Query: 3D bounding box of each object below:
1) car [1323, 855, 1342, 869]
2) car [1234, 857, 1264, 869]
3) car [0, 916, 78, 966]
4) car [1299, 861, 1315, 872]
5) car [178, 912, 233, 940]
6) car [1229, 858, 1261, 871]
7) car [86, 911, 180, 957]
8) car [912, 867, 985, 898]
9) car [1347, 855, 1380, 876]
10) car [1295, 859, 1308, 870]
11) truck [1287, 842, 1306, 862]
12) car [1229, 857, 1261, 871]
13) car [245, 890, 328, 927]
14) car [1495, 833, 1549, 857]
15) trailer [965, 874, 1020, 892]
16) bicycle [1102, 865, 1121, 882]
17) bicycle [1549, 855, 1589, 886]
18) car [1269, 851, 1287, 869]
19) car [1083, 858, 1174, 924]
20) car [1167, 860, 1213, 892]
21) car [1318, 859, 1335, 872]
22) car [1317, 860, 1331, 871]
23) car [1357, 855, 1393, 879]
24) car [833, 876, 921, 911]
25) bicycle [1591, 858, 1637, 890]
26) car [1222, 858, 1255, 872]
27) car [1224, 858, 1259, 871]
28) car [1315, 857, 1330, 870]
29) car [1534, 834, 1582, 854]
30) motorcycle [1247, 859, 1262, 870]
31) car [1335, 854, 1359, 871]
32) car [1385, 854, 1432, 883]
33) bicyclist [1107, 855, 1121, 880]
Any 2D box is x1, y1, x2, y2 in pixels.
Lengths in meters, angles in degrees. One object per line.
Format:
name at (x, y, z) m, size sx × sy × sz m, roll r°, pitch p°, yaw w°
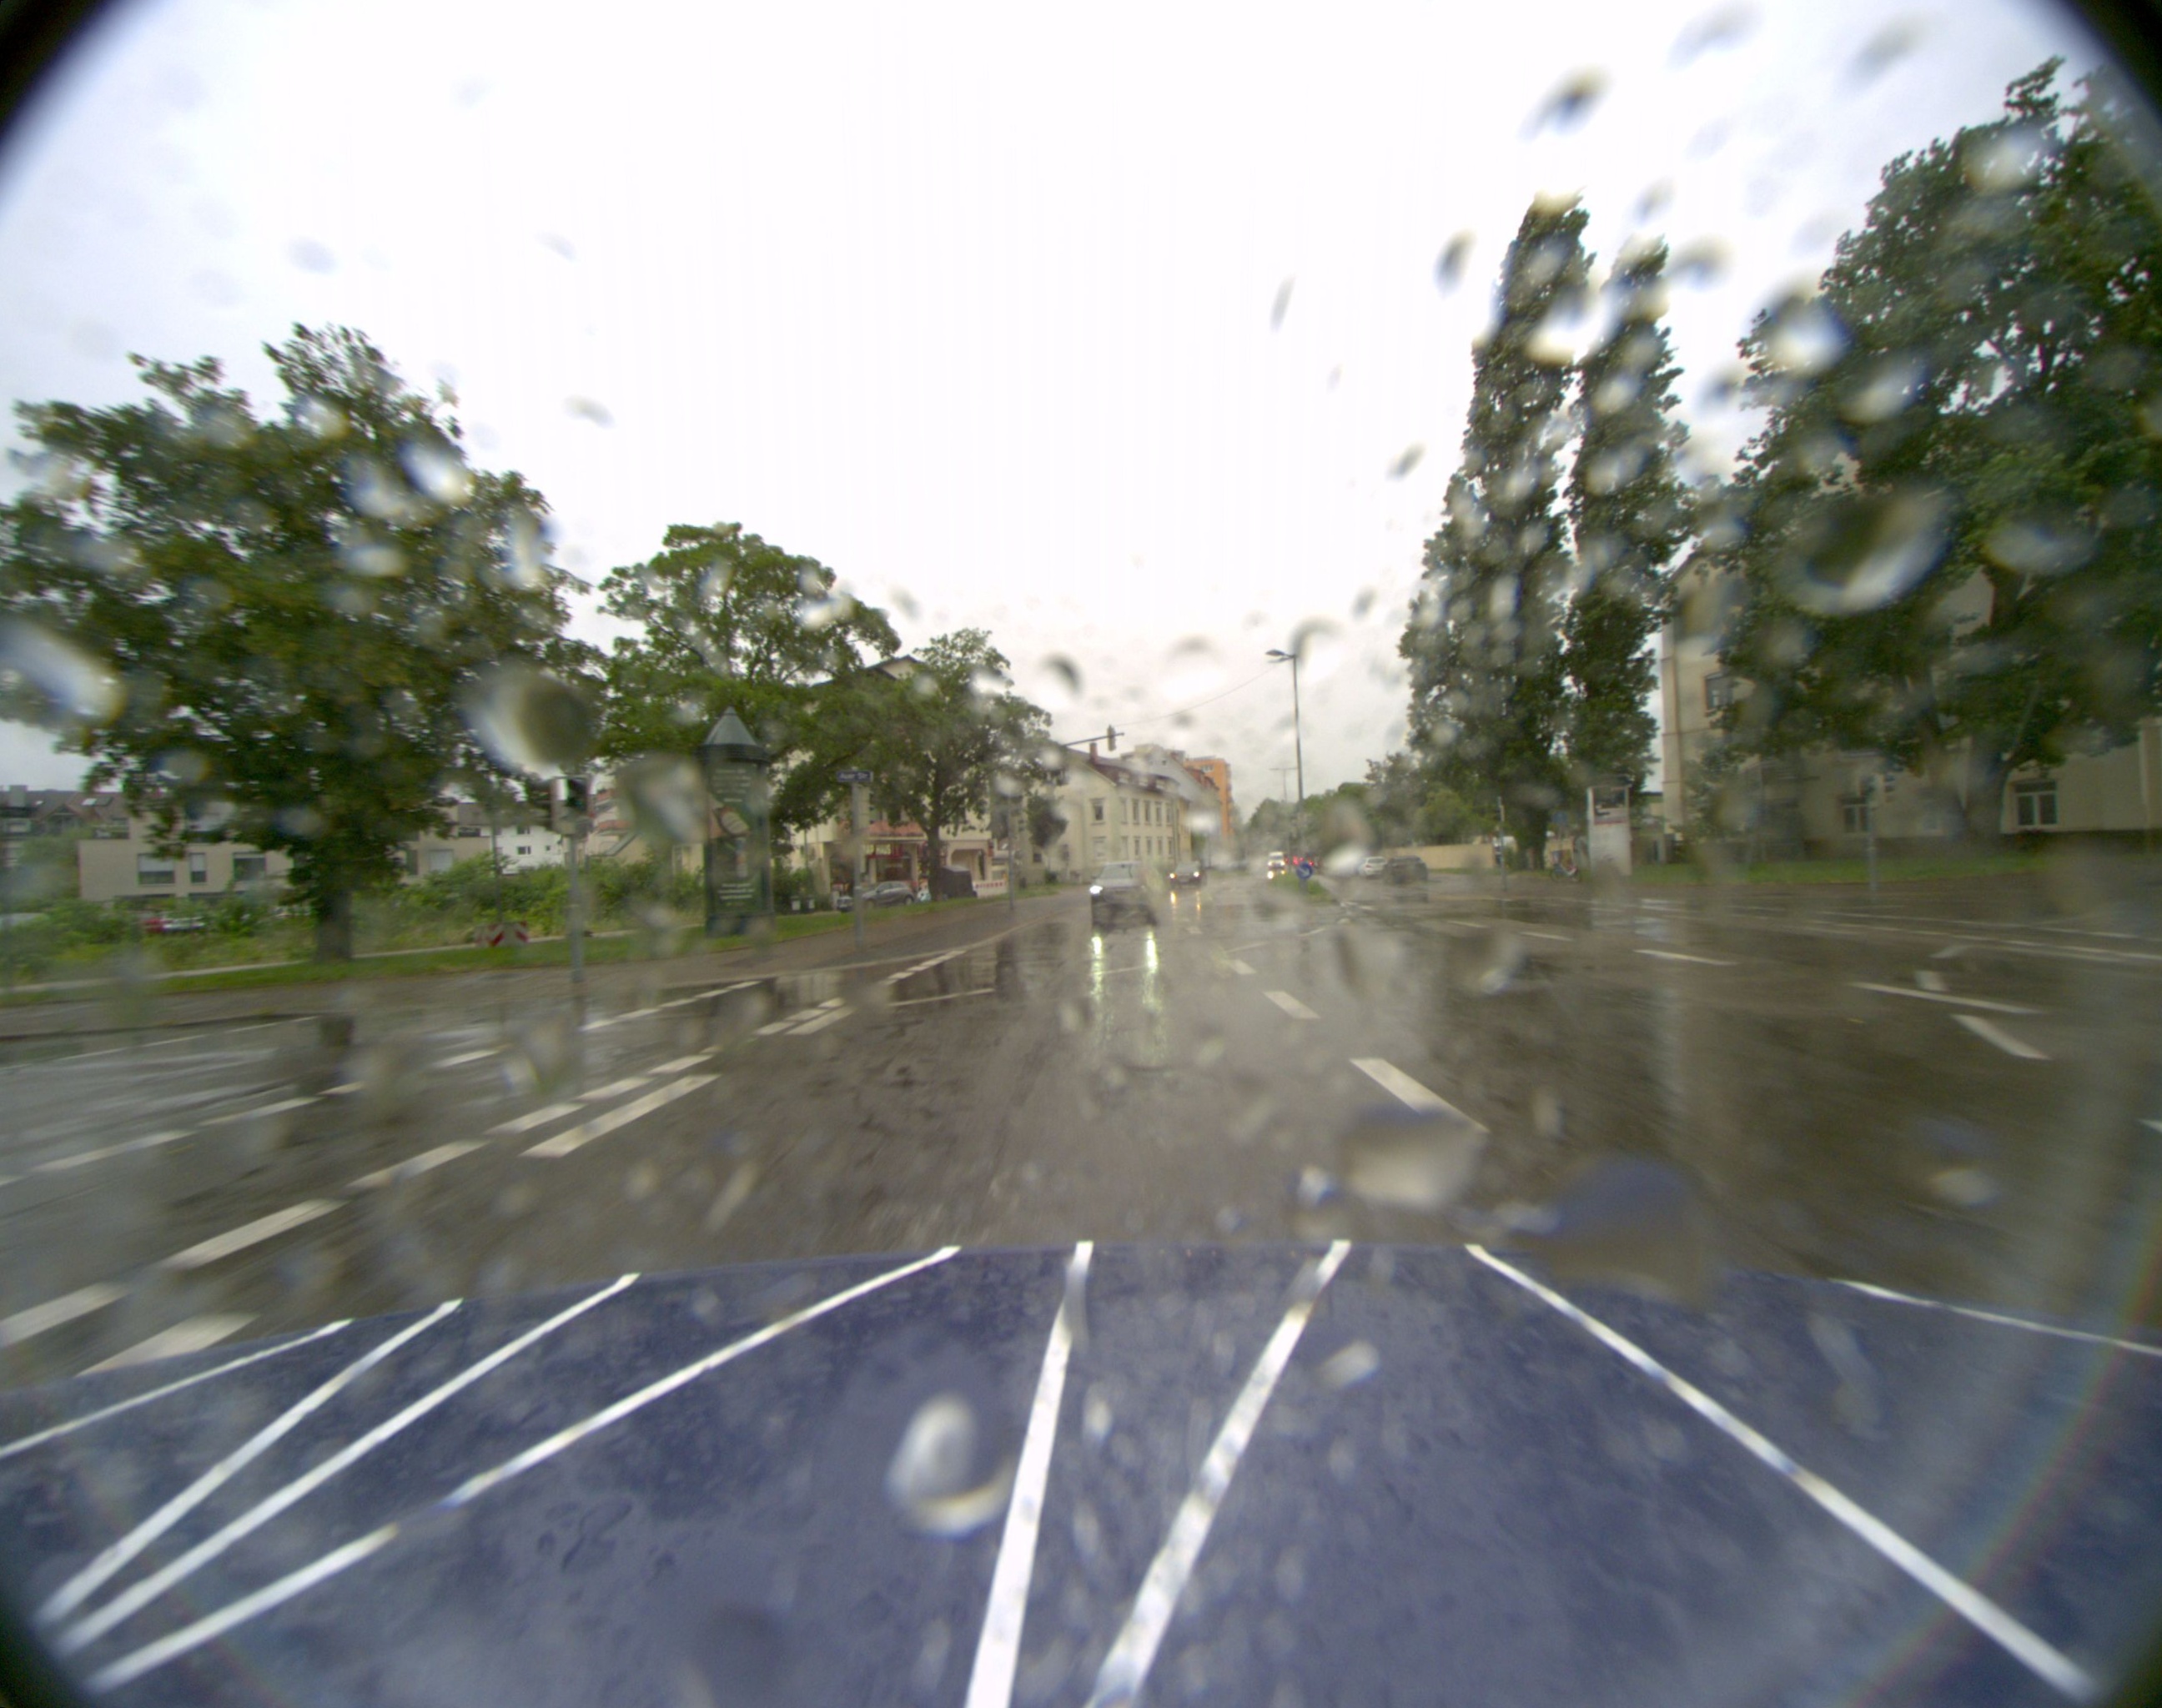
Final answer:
car at (30.602, 0.961, 92.697) m, size 1.777 × 1.451 × 4.685 m, roll -3°, pitch 0°, yaw 14°
car at (24.639, 1.373, 111.278) m, size 4.166 × 1.467 × 1.652 m, roll -3°, pitch 0°, yaw 16°
car at (-45.355, 3.715, 32.735) m, size 3.990 × 1.849 × 2.003 m, roll -4°, pitch 0°, yaw 29°
car at (29.038, 1.618, 97.831) m, size 1.729 × 1.385 × 3.954 m, roll 0°, pitch 0°, yaw 13°
car at (-50.896, 4.149, 44.253) m, size 4.082 × 1.335 × 1.770 m, roll -4°, pitch 0°, yaw 45°
car at (21.429, 1.388, 99.266) m, size 3.919 × 1.472 × 1.859 m, roll -3°, pitch 0°, yaw 16°
car at (-43.912, 3.689, 35.186) m, size 3.990 × 1.849 × 2.003 m, roll -4°, pitch 0°, yaw 29°
car at (-7.223, 1.523, 41.819) m, size 1.635 × 1.425 × 4.184 m, roll -3°, pitch 0°, yaw 28°
car at (21.701, 0.840, 58.472) m, size 1.730 × 1.374 × 4.184 m, roll -5°, pitch -1°, yaw 13°
car at (32.041, 1.574, 110.550) m, size 1.708 × 1.492 × 3.950 m, roll 0°, pitch 0°, yaw 14°
truck at (51.121, -0.523, 180.379) m, size 3.829 × 4.359 × 10.798 m, roll -3°, pitch 0°, yaw 15°
car at (21.959, 1.312, 101.667) m, size 3.919 × 1.605 × 1.694 m, roll -3°, pitch 0°, yaw 16°
car at (-40.401, 2.775, 38.641) m, size 3.990 × 1.674 × 1.912 m, roll -4°, pitch 0°, yaw 29°
car at (47.002, -0.924, 81.122) m, size 2.151 × 2.382 × 4.715 m, roll -3°, pitch 0°, yaw -15°
trailer at (-6.752, 2.210, 57.634) m, size 1.828 × 1.224 × 4.522 m, roll -3°, pitch 0°, yaw -42°
bicycle at (1.998, 1.274, 49.535) m, size 0.673 × 1.053 × 1.975 m, roll -3°, pitch -1°, yaw 19°
bicycle at (19.432, 0.647, 30.304) m, size 0.698 × 1.179 × 1.625 m, roll -3°, pitch 0°, yaw 9°
car at (27.030, 0.796, 103.995) m, size 2.192 × 2.242 × 4.890 m, roll -3°, pitch 0°, yaw 15°
car at (1.528, 1.033, 22.851) m, size 1.959 × 1.701 × 4.178 m, roll -3°, pitch 0°, yaw 13°
car at (6.436, 1.274, 44.491) m, size 1.829 × 1.619 × 4.005 m, roll -3°, pitch 0°, yaw 19°
car at (32.555, 1.519, 100.799) m, size 1.627 × 1.588 × 3.801 m, roll -3°, pitch 0°, yaw 12°
car at (33.866, 1.591, 105.986) m, size 1.692 × 1.445 × 3.723 m, roll -3°, pitch 0°, yaw 16°
car at (20.543, 0.890, 53.222) m, size 1.605 × 1.465 × 4.126 m, roll -3°, pitch 0°, yaw 12°
car at (-9.994, 1.911, 37.506) m, size 1.699 × 1.425 × 4.164 m, roll -3°, pitch 0°, yaw 28°
bicycle at (18.935, 0.688, 27.019) m, size 0.556 × 1.070 × 1.797 m, roll -3°, pitch 0°, yaw 9°
car at (19.155, 1.386, 92.221) m, size 3.757 × 1.445 × 1.803 m, roll -3°, pitch -2°, yaw 15°
car at (19.992, 1.342, 94.707) m, size 4.059 × 1.445 × 1.937 m, roll -3°, pitch -2°, yaw 15°
car at (36.015, 1.373, 113.254) m, size 1.880 × 1.672 × 4.042 m, roll -3°, pitch 0°, yaw 15°
car at (51.787, -1.065, 82.598) m, size 2.001 × 2.002 × 3.995 m, roll -3°, pitch 0°, yaw -16°
motorcycle at (22.126, 1.316, 96.999) m, size 1.765 × 1.365 × 0.735 m, roll -3°, pitch 0°, yaw 16°
car at (25.453, 0.778, 72.887) m, size 1.698 × 1.436 × 4.101 m, roll -4°, pitch -1°, yaw 14°
car at (18.132, 0.772, 42.208) m, size 1.547 × 1.389 × 4.198 m, roll -4°, pitch -1°, yaw 13°
bicyclist at (2.170, 0.857, 49.611) m, size 0.639 × 1.573 × 0.717 m, roll -3°, pitch -1°, yaw 19°
